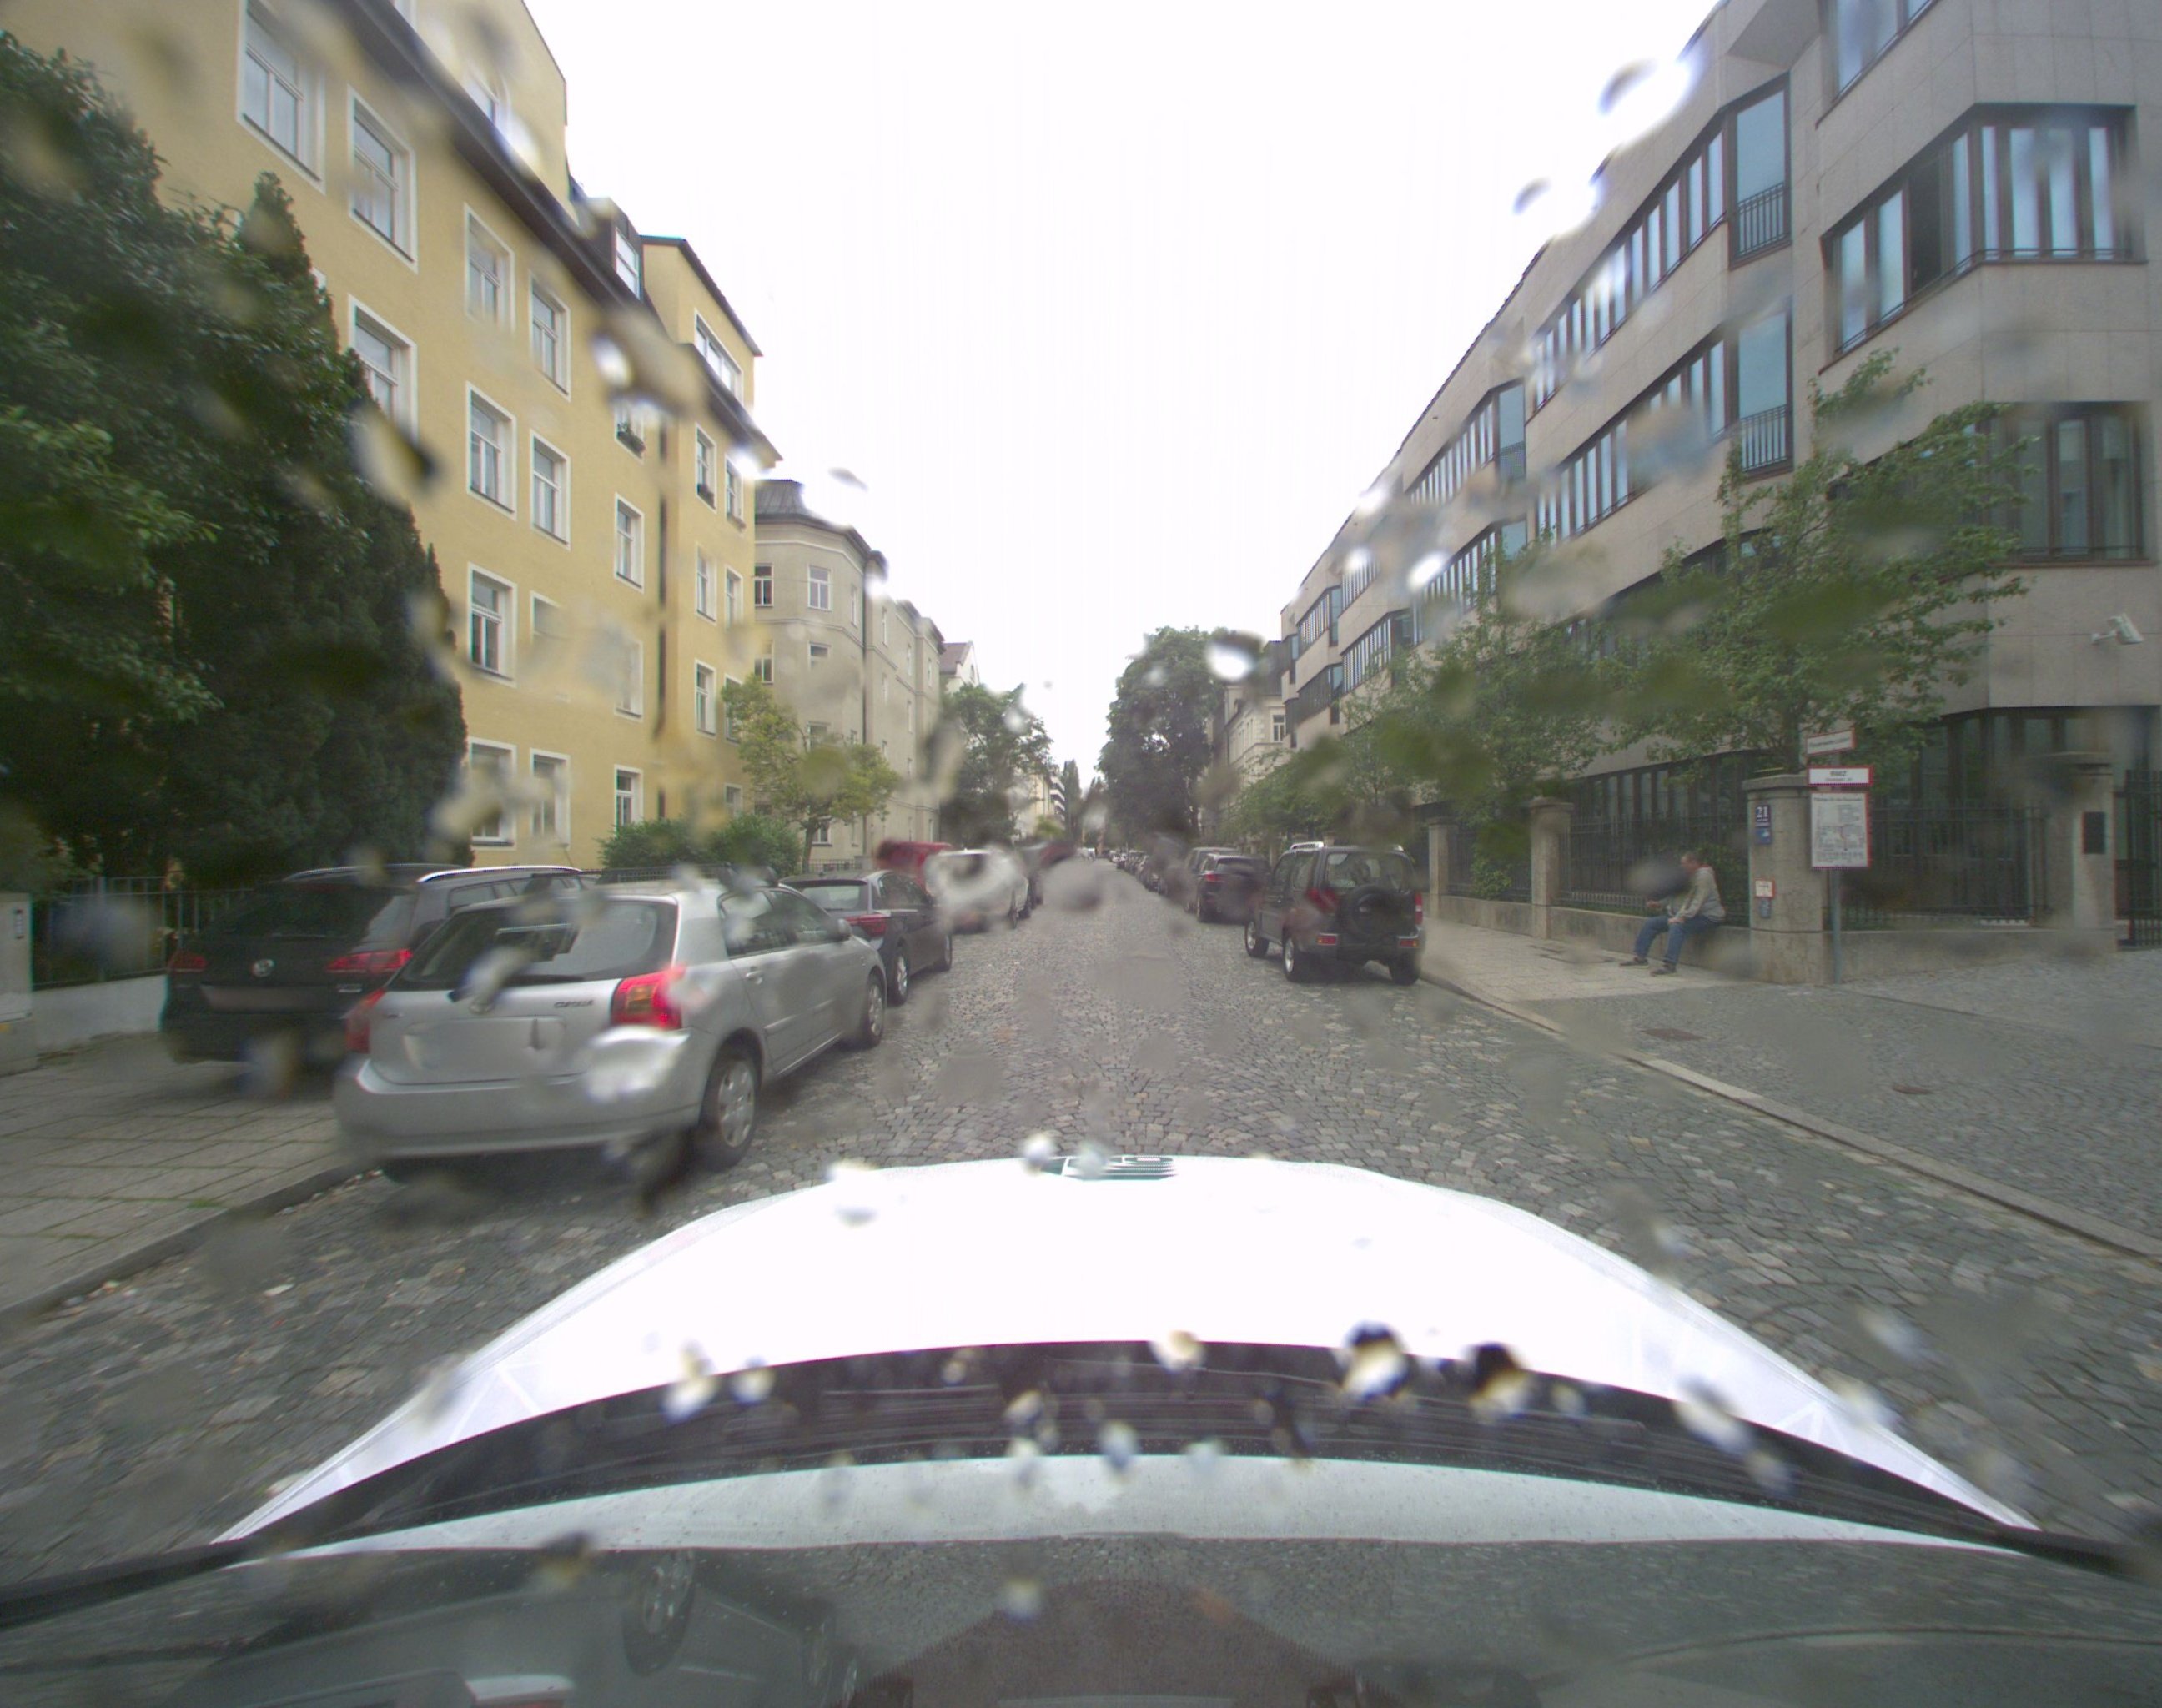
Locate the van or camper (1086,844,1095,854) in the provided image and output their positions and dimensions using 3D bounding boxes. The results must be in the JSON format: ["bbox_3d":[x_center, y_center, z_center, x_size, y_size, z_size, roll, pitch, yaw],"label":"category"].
[{"bbox_3d":[2.509,-1.317,212.188,2.247,2.742,5.099,0,0,2],"label":"van or camper"}]

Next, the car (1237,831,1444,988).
[{"bbox_3d":[3.356,0.637,11.305,1.613,1.751,3.887,2,0,0],"label":"car"}]

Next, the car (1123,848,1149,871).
[{"bbox_3d":[5.010,0.496,74.793,1.867,1.928,5.162,2,0,-1],"label":"car"}]

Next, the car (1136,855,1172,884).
[{"bbox_3d":[4.171,0.867,47.207,1.865,1.490,4.621,2,0,3],"label":"car"}]

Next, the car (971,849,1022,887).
[{"bbox_3d":[-4.205,0.680,41.169,1.938,1.735,4.657,2,0,1],"label":"car"}]

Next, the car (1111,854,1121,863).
[{"bbox_3d":[6.420,0.808,148.445,1.783,1.520,4.002,-1,0,2],"label":"car"}]

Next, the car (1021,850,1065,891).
[{"bbox_3d":[-1.743,0.733,38.608,1.860,1.735,4.401,-3,0,-1],"label":"car"}]

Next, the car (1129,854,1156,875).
[{"bbox_3d":[4.645,0.782,62.197,1.707,1.472,4.268,2,0,0],"label":"car"}]

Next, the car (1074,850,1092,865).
[{"bbox_3d":[0.215,0.433,94.616,1.867,1.580,4.254,-3,0,-1],"label":"car"}]

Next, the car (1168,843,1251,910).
[{"bbox_3d":[3.880,0.629,25.225,1.782,1.796,4.509,3,0,0],"label":"car"}]

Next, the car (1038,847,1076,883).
[{"bbox_3d":[-1.444,0.635,50.052,1.986,1.917,5.177,-4,0,1],"label":"car"}]

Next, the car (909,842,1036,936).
[{"bbox_3d":[-2.341,0.704,19.032,1.998,1.809,5.177,-3,0,2],"label":"car"}]

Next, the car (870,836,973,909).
[{"bbox_3d":[-4.655,0.506,24.629,1.987,1.931,5.330,1,0,0],"label":"car"}]

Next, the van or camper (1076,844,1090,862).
[{"bbox_3d":[0.308,-0.155,127.613,1.986,2.652,4.002,-3,0,2],"label":"van or camper"}]

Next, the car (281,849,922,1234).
[{"bbox_3d":[-2.474,0.799,5.659,1.707,1.562,4.391,-3,0,1],"label":"car"}]

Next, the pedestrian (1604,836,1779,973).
[{"bbox_3d":[7.272,0.571,9.789,1.211,1.493,1.130,-3,0,3],"label":"pedestrian"}]

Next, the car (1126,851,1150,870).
[{"bbox_3d":[4.830,0.560,69.138,1.830,1.490,4.424,2,0,2],"label":"car"}]

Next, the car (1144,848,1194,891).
[{"bbox_3d":[3.835,0.663,36.152,1.865,1.735,4.895,1,0,3],"label":"car"}]

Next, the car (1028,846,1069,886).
[{"bbox_3d":[-1.678,0.595,43.545,1.867,1.917,4.827,-3,0,1],"label":"car"}]

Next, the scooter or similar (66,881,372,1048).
[{"bbox_3d":[-7.280,0.869,7.013,0.952,1.200,1.523,2,0,1],"label":"scooter or similar"}]

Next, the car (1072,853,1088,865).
[{"bbox_3d":[-0.154,0.591,100.852,1.867,1.451,4.206,-2,0,-1],"label":"car"}]

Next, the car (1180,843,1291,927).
[{"bbox_3d":[3.596,0.664,19.786,1.854,1.702,4.814,2,0,1],"label":"car"}]

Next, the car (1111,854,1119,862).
[{"bbox_3d":[7.042,0.807,169.131,1.783,1.520,4.002,-1,0,2],"label":"car"}]

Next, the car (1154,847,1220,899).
[{"bbox_3d":[3.969,0.671,31.169,1.867,1.735,4.659,3,0,1],"label":"car"}]

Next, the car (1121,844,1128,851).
[{"bbox_3d":[13.355,-2.067,251.533,1.986,2.014,4.002,0,-1,2],"label":"car"}]

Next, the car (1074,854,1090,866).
[{"bbox_3d":[0.170,0.845,112.644,1.864,1.580,4.213,1,0,5],"label":"car"}]

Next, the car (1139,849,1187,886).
[{"bbox_3d":[4.186,0.648,42.072,1.867,1.735,4.745,3,0,-1],"label":"car"}]

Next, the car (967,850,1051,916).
[{"bbox_3d":[-2.139,0.826,25.596,1.910,1.735,4.758,-5,0,2],"label":"car"}]

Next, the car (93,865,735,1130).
[{"bbox_3d":[-5.025,0.895,7.270,1.709,1.497,4.723,1,0,1],"label":"car"}]

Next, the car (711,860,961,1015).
[{"bbox_3d":[-2.695,0.835,9.965,1.723,1.418,3.937,-3,0,1],"label":"car"}]

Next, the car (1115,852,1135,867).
[{"bbox_3d":[4.661,0.565,86.785,1.867,1.503,4.510,2,0,-1],"label":"car"}]
